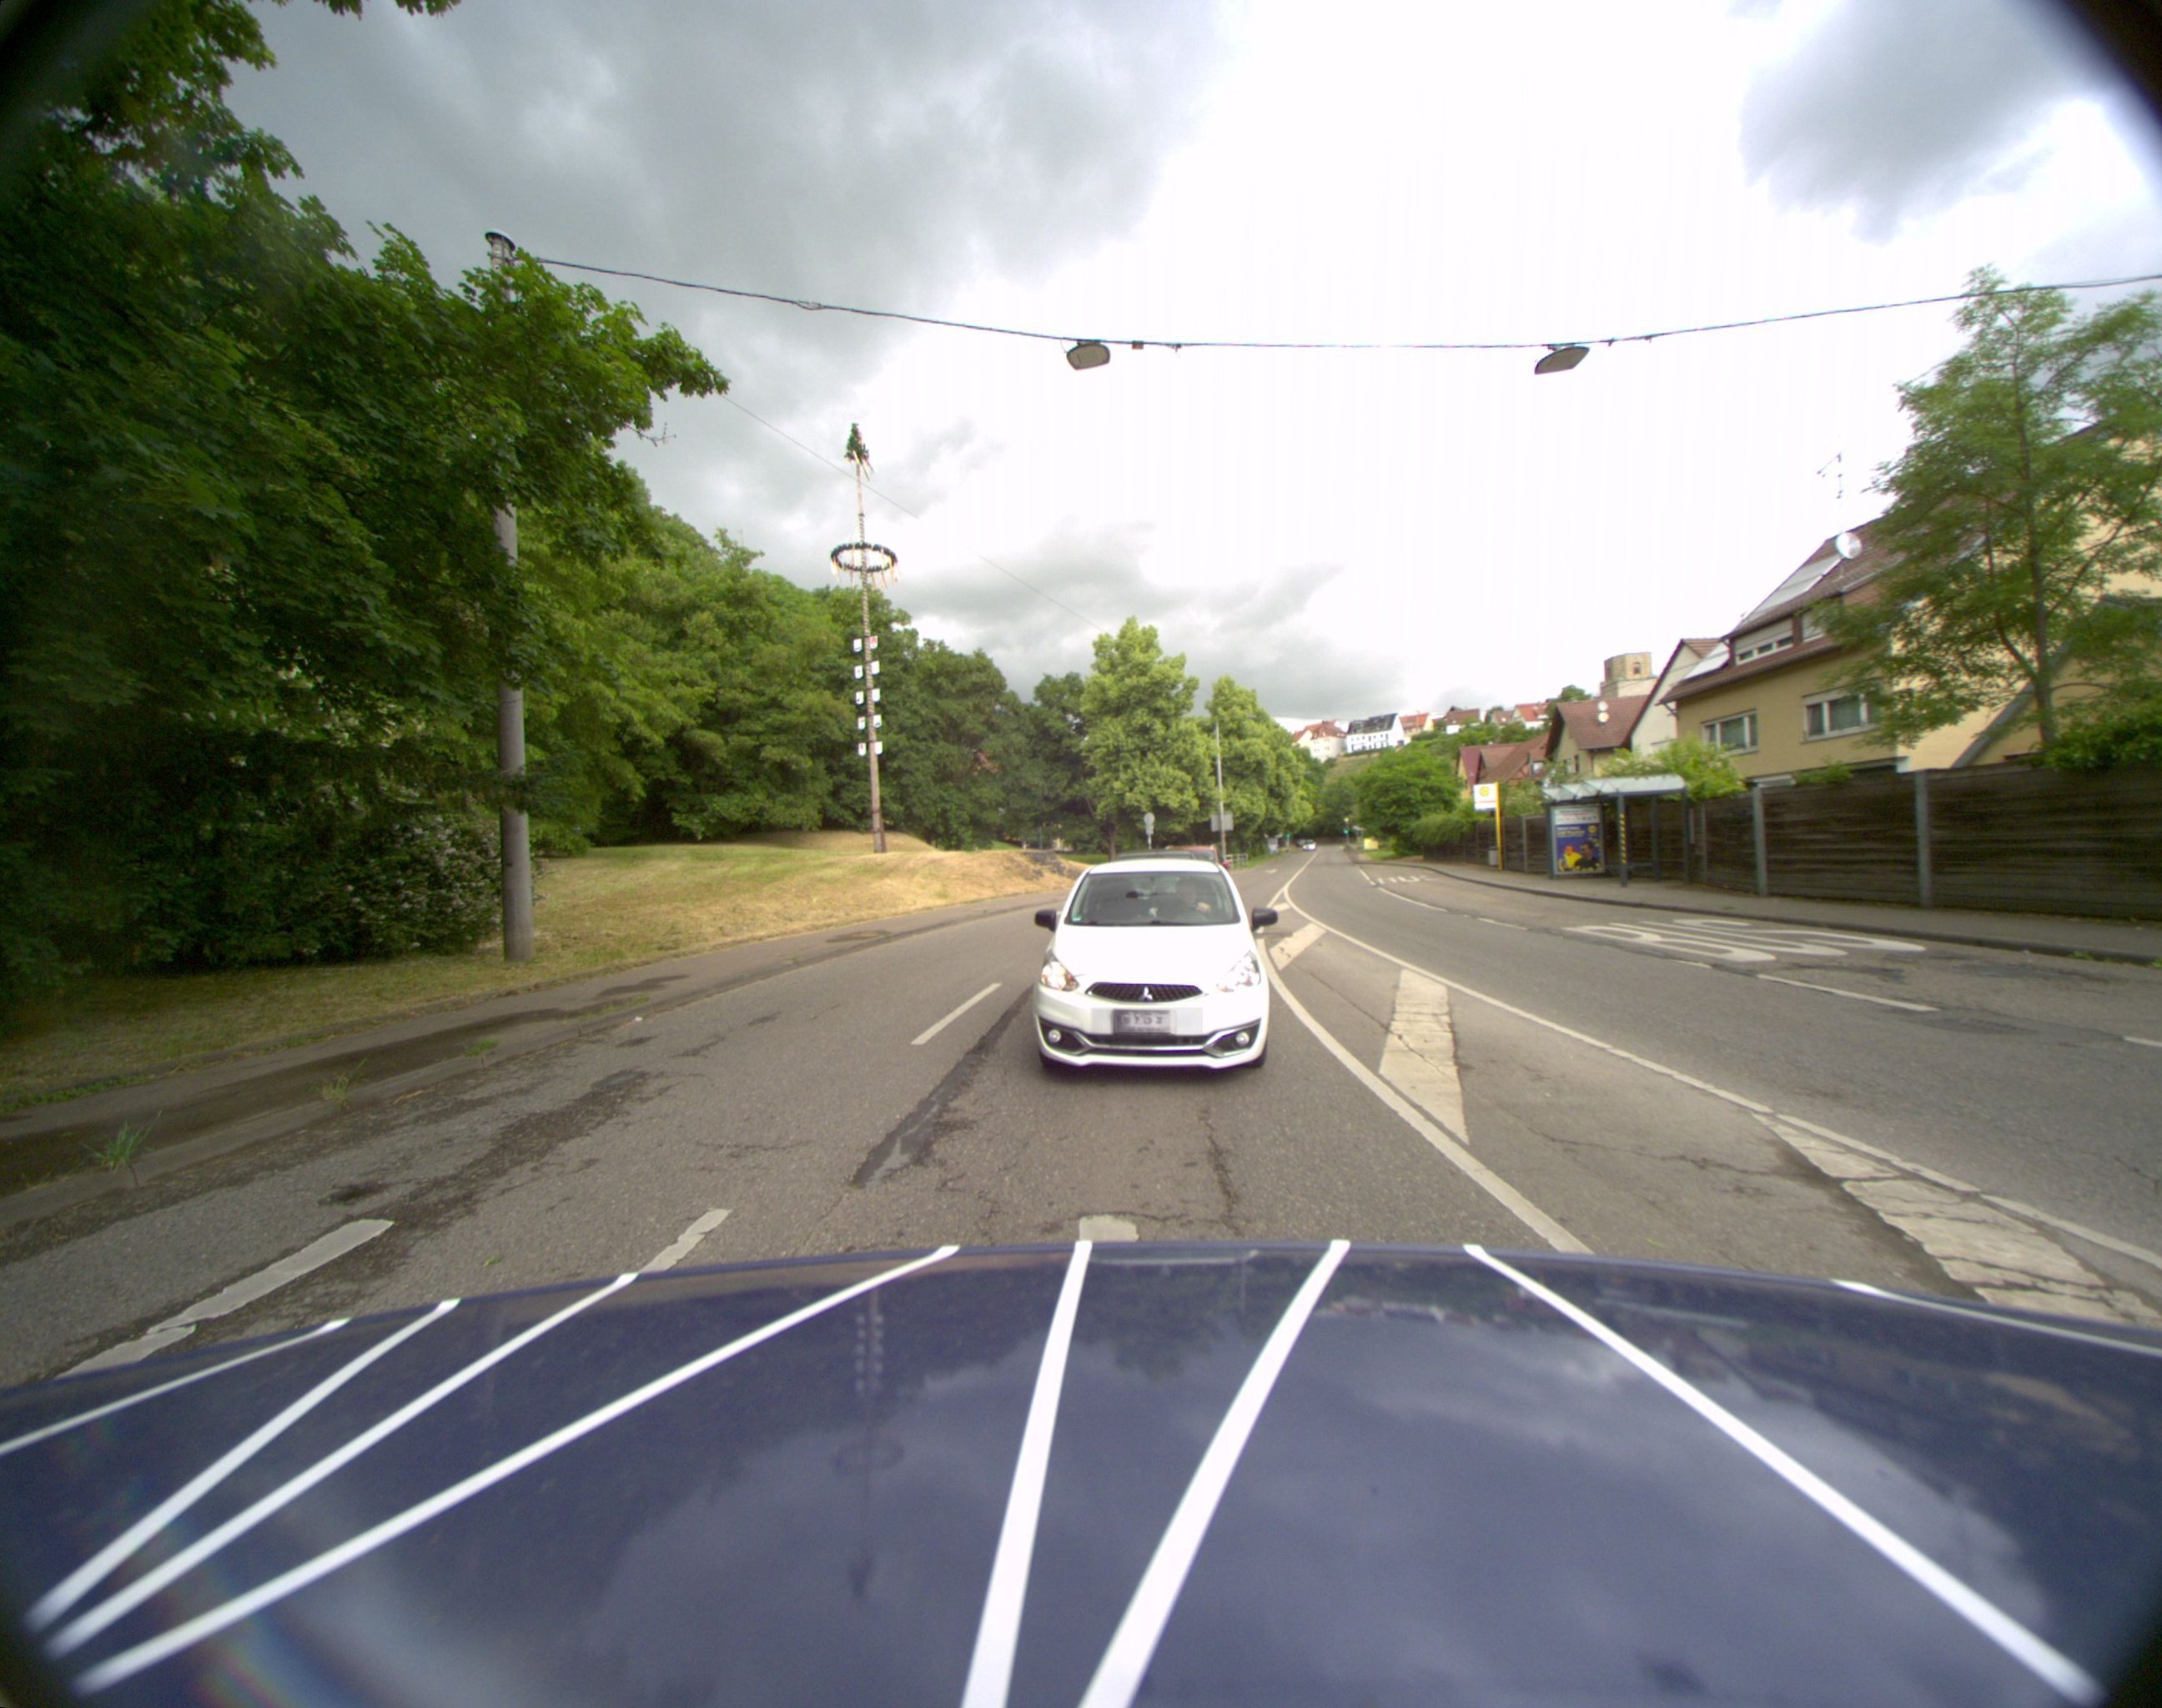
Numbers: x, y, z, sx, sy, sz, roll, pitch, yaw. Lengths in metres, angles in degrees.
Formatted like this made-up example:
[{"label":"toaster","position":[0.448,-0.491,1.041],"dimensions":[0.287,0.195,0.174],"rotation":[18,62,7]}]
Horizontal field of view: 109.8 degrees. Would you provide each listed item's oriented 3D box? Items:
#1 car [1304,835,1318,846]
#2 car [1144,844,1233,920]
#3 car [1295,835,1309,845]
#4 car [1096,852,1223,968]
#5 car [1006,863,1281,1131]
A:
[{"label":"car","position":[35.709,-2.098,117.770],"dimensions":[1.843,1.630,4.005],"rotation":[-2,1,19]},{"label":"car","position":[2.857,0.634,19.456],"dimensions":[1.826,1.662,4.061],"rotation":[-2,1,13]},{"label":"car","position":[44.289,-2.773,152.422],"dimensions":[1.911,1.745,4.001],"rotation":[-3,0,4]},{"label":"car","position":[1.393,0.796,12.584],"dimensions":[1.723,1.539,3.784],"rotation":[-2,1,9]},{"label":"car","position":[0.639,0.910,6.427],"dimensions":[1.617,1.505,3.607],"rotation":[-2,1,9]}]
